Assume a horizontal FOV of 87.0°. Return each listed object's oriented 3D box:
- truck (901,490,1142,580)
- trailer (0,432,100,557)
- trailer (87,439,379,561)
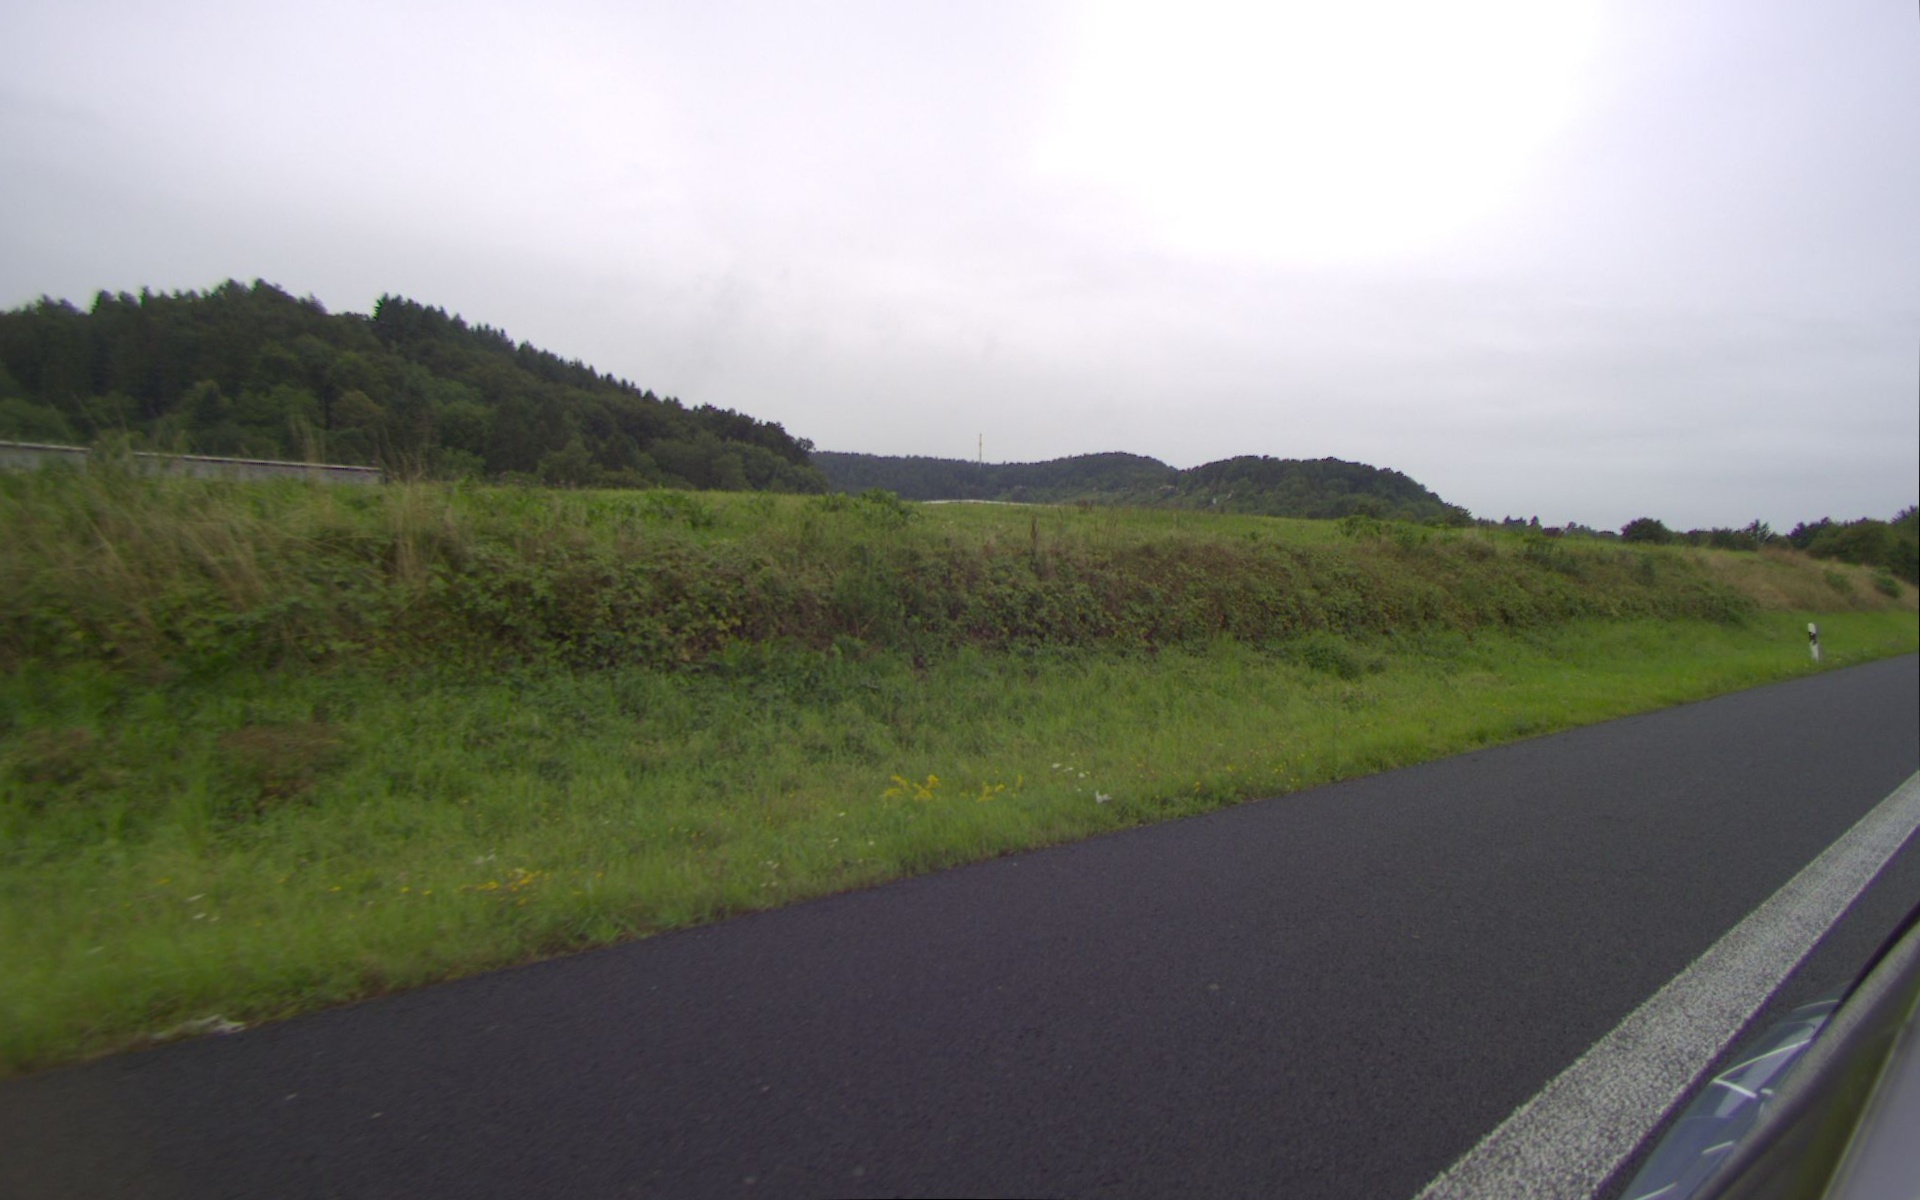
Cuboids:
[{"bbox_3d":[4.128,-3.520,59.580,16.600,4.597,3.825,-1,1,-43],"label":"truck"},{"bbox_3d":[-30.834,-3.206,29.614,2.934,3.571,8.297,0,0,40],"label":"trailer"},{"bbox_3d":[-25.480,-3.305,35.874,3.075,3.571,7.964,0,0,41],"label":"trailer"}]
